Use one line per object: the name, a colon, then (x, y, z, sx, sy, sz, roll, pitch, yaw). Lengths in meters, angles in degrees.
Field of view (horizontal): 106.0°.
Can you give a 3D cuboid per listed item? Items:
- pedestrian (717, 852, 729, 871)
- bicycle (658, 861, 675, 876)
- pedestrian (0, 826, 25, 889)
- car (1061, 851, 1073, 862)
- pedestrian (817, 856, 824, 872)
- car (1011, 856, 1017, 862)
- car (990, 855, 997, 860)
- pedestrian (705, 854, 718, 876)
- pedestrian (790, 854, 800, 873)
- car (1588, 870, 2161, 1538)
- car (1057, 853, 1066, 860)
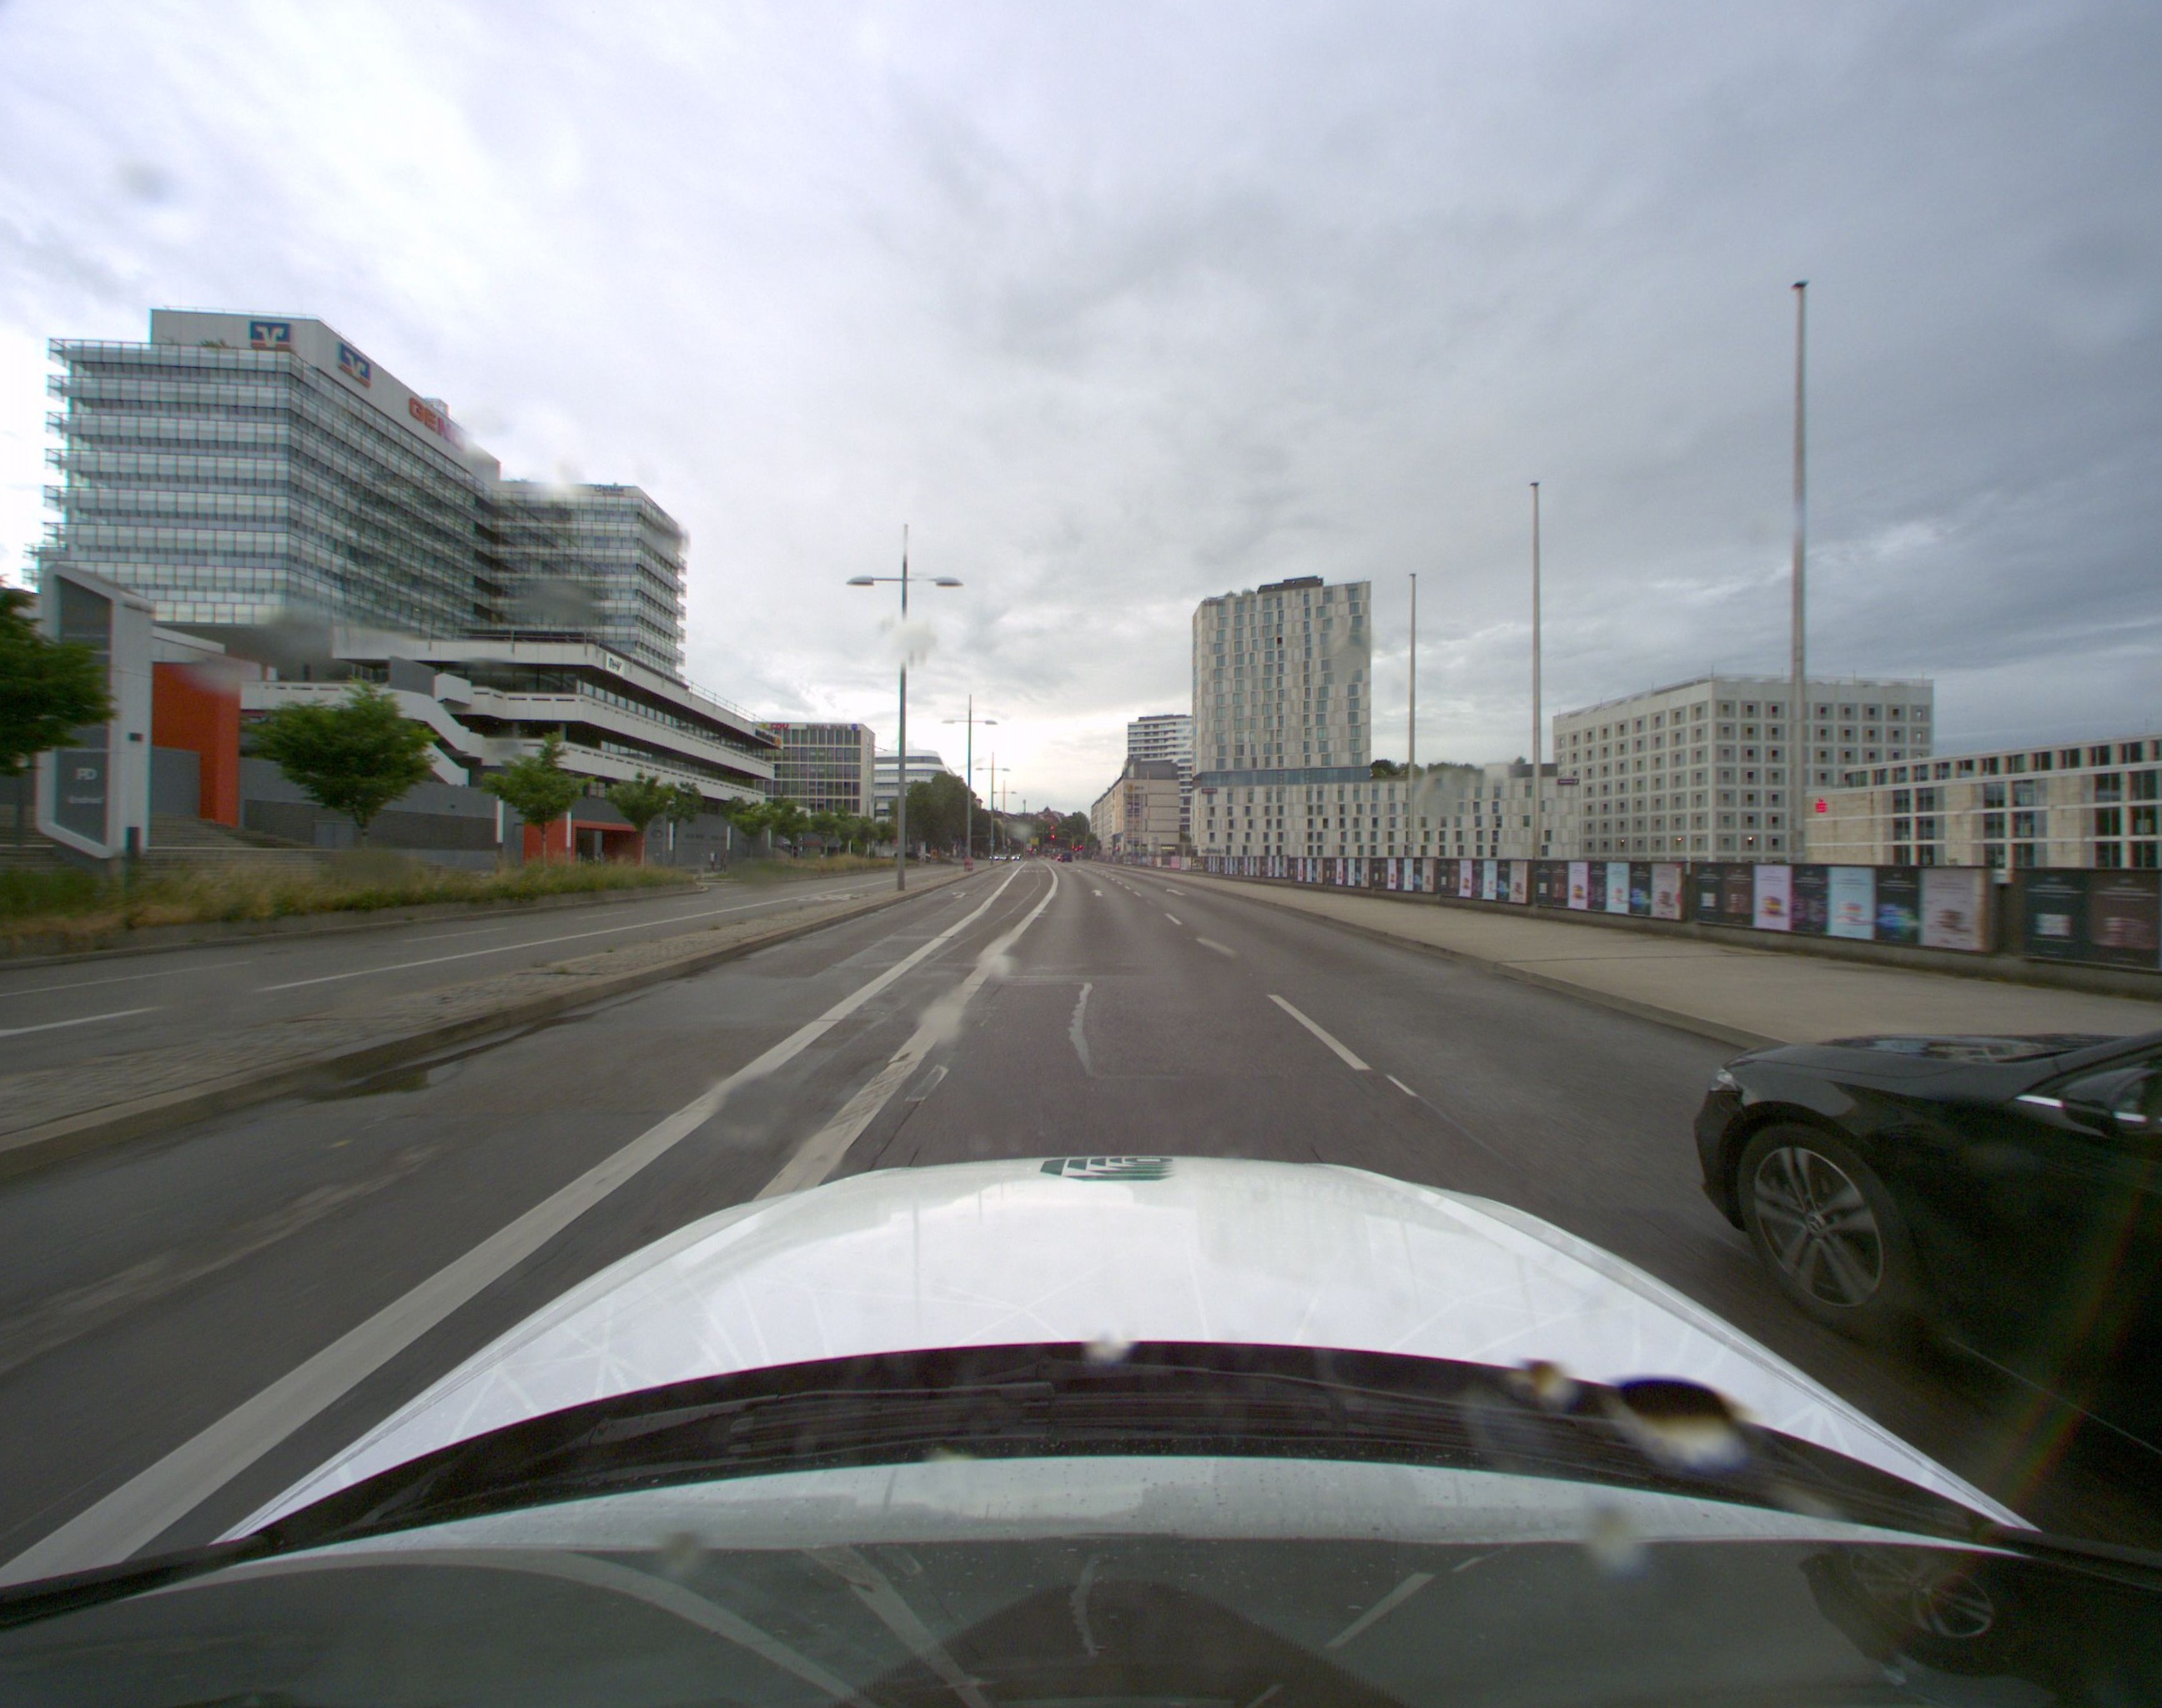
pedestrian: (-27.974, 0.601, 63.655, 0.616, 1.446, 0.798, -1, -1, -2)
bicycle: (-22.859, 0.803, 44.908, 0.612, 0.857, 1.639, 0, -1, -36)
pedestrian: (-28.168, 0.101, 21.154, 0.608, 1.611, 0.639, -1, -1, 0)
car: (-2.637, 0.478, 155.755, 2.028, 1.882, 5.036, -3, 1, -3)
pedestrian: (-30.539, 1.155, 95.434, 0.628, 1.808, 0.628, -1, -1, -3)
car: (-18.512, 1.348, 225.506, 1.739, 1.444, 3.390, -1, -1, -3)
car: (-24.185, 0.921, 225.698, 1.739, 1.328, 4.220, -1, -1, -3)
pedestrian: (-28.855, 0.829, 63.637, 0.616, 1.658, 0.798, -4, -1, -2)
pedestrian: (-28.398, 0.944, 80.755, 0.782, 1.808, 0.628, -1, -1, -3)
car: (3.118, 0.736, 1.600, 1.717, 1.376, 4.156, -1, -1, 1)
car: (-4.302, 0.600, 180.411, 1.738, 1.531, 3.805, -1, -1, -7)
